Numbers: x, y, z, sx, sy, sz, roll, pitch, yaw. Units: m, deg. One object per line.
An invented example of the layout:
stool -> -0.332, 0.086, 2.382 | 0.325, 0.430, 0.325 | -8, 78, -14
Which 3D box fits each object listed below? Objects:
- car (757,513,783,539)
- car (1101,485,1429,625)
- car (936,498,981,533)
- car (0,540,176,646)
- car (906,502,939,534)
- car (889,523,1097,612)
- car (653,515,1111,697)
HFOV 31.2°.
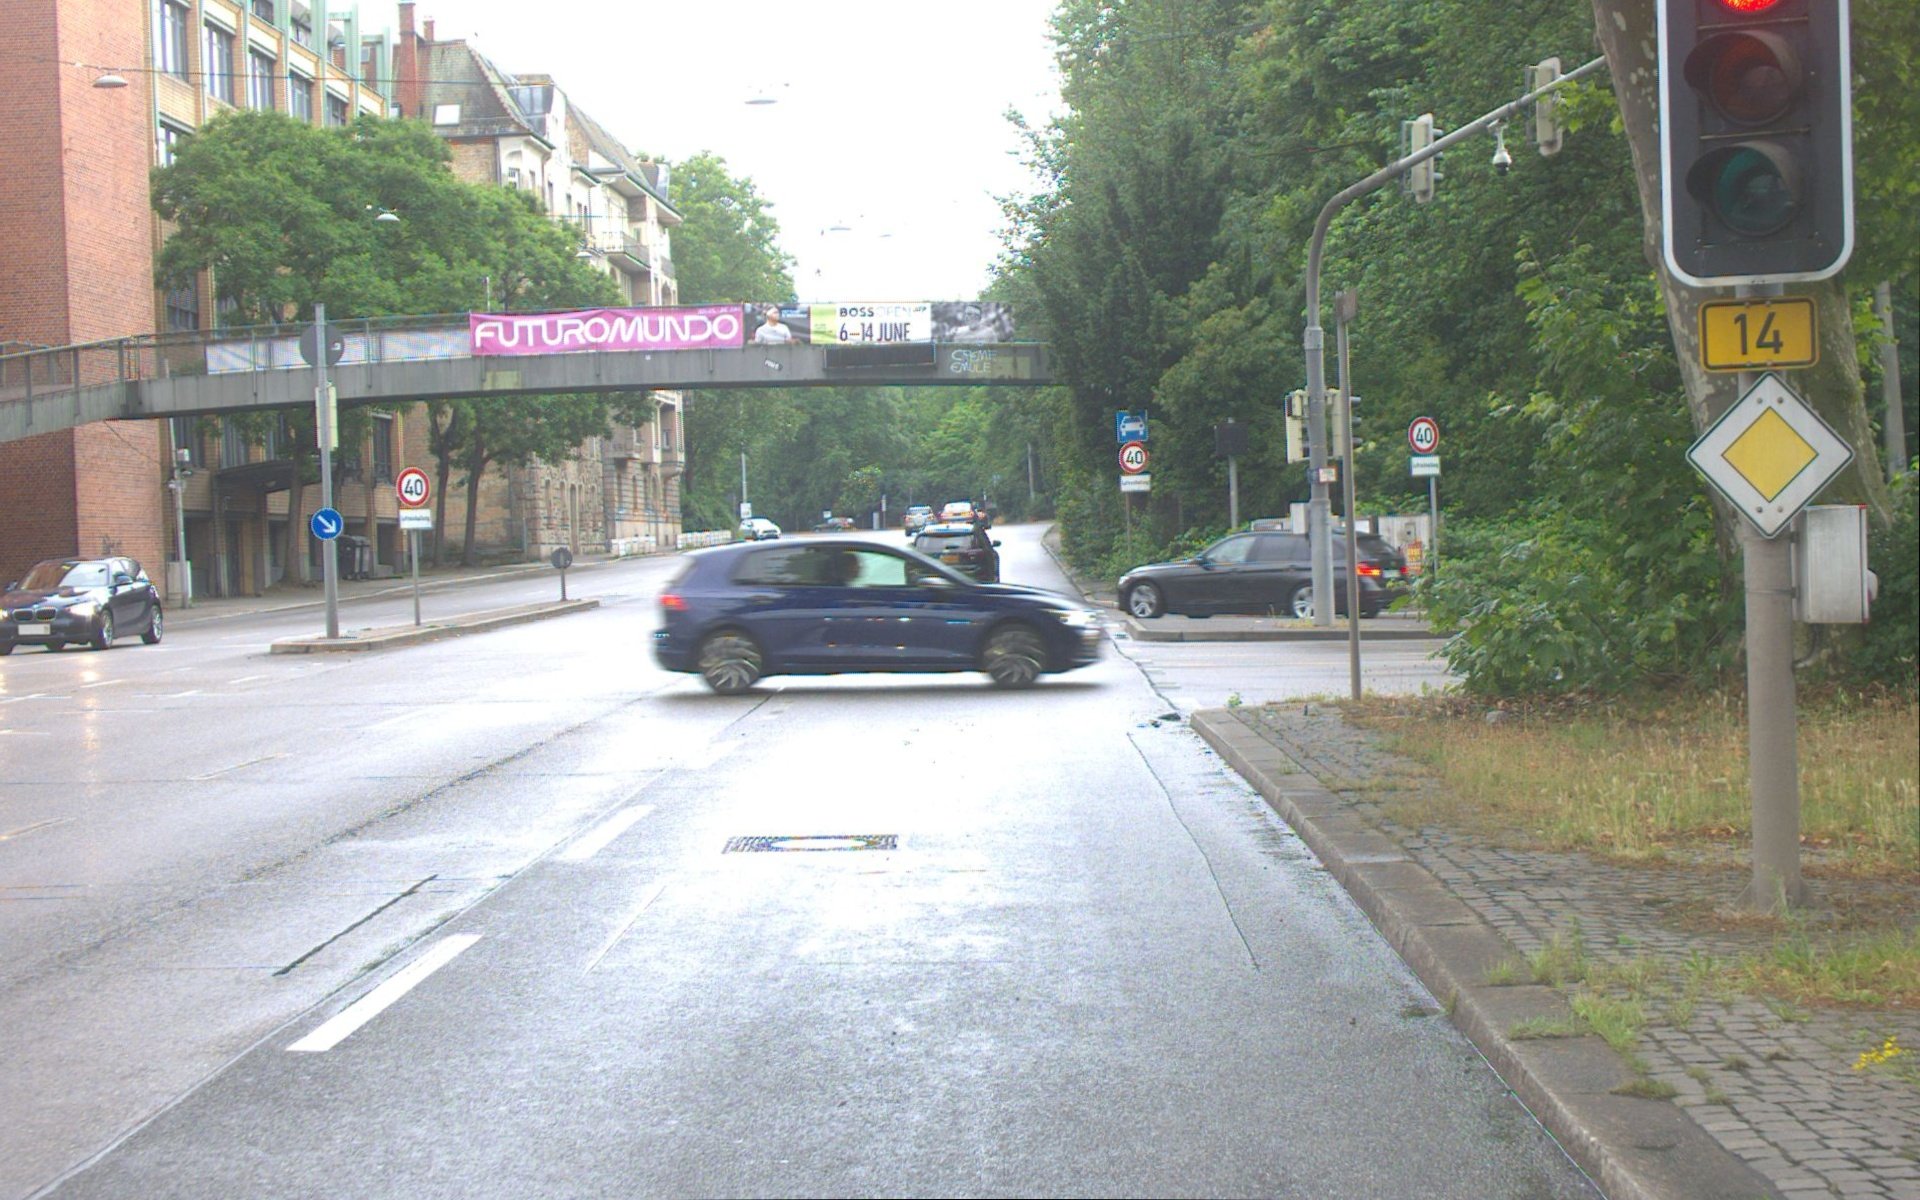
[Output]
car -> -13.452, -5.245, 243.463 | 1.619, 1.691, 3.549 | -3, 1, 0
car -> 4.595, -0.675, 51.883 | 4.345, 1.829, 2.132 | -3, 1, 30
car -> -0.103, -4.358, 177.458 | 2.120, 1.729, 4.199 | 0, 2, -3
car -> -13.436, -0.133, 52.458 | 1.993, 1.514, 4.000 | -2, 1, 0
car -> -2.095, -4.639, 194.351 | 1.763, 1.691, 3.706 | -3, 1, 0
car -> 0.598, -0.644, 66.573 | 1.875, 1.632, 4.525 | -2, 2, -32
car -> -0.694, 0.043, 32.440 | 4.135, 1.441, 1.585 | -3, 1, 3
